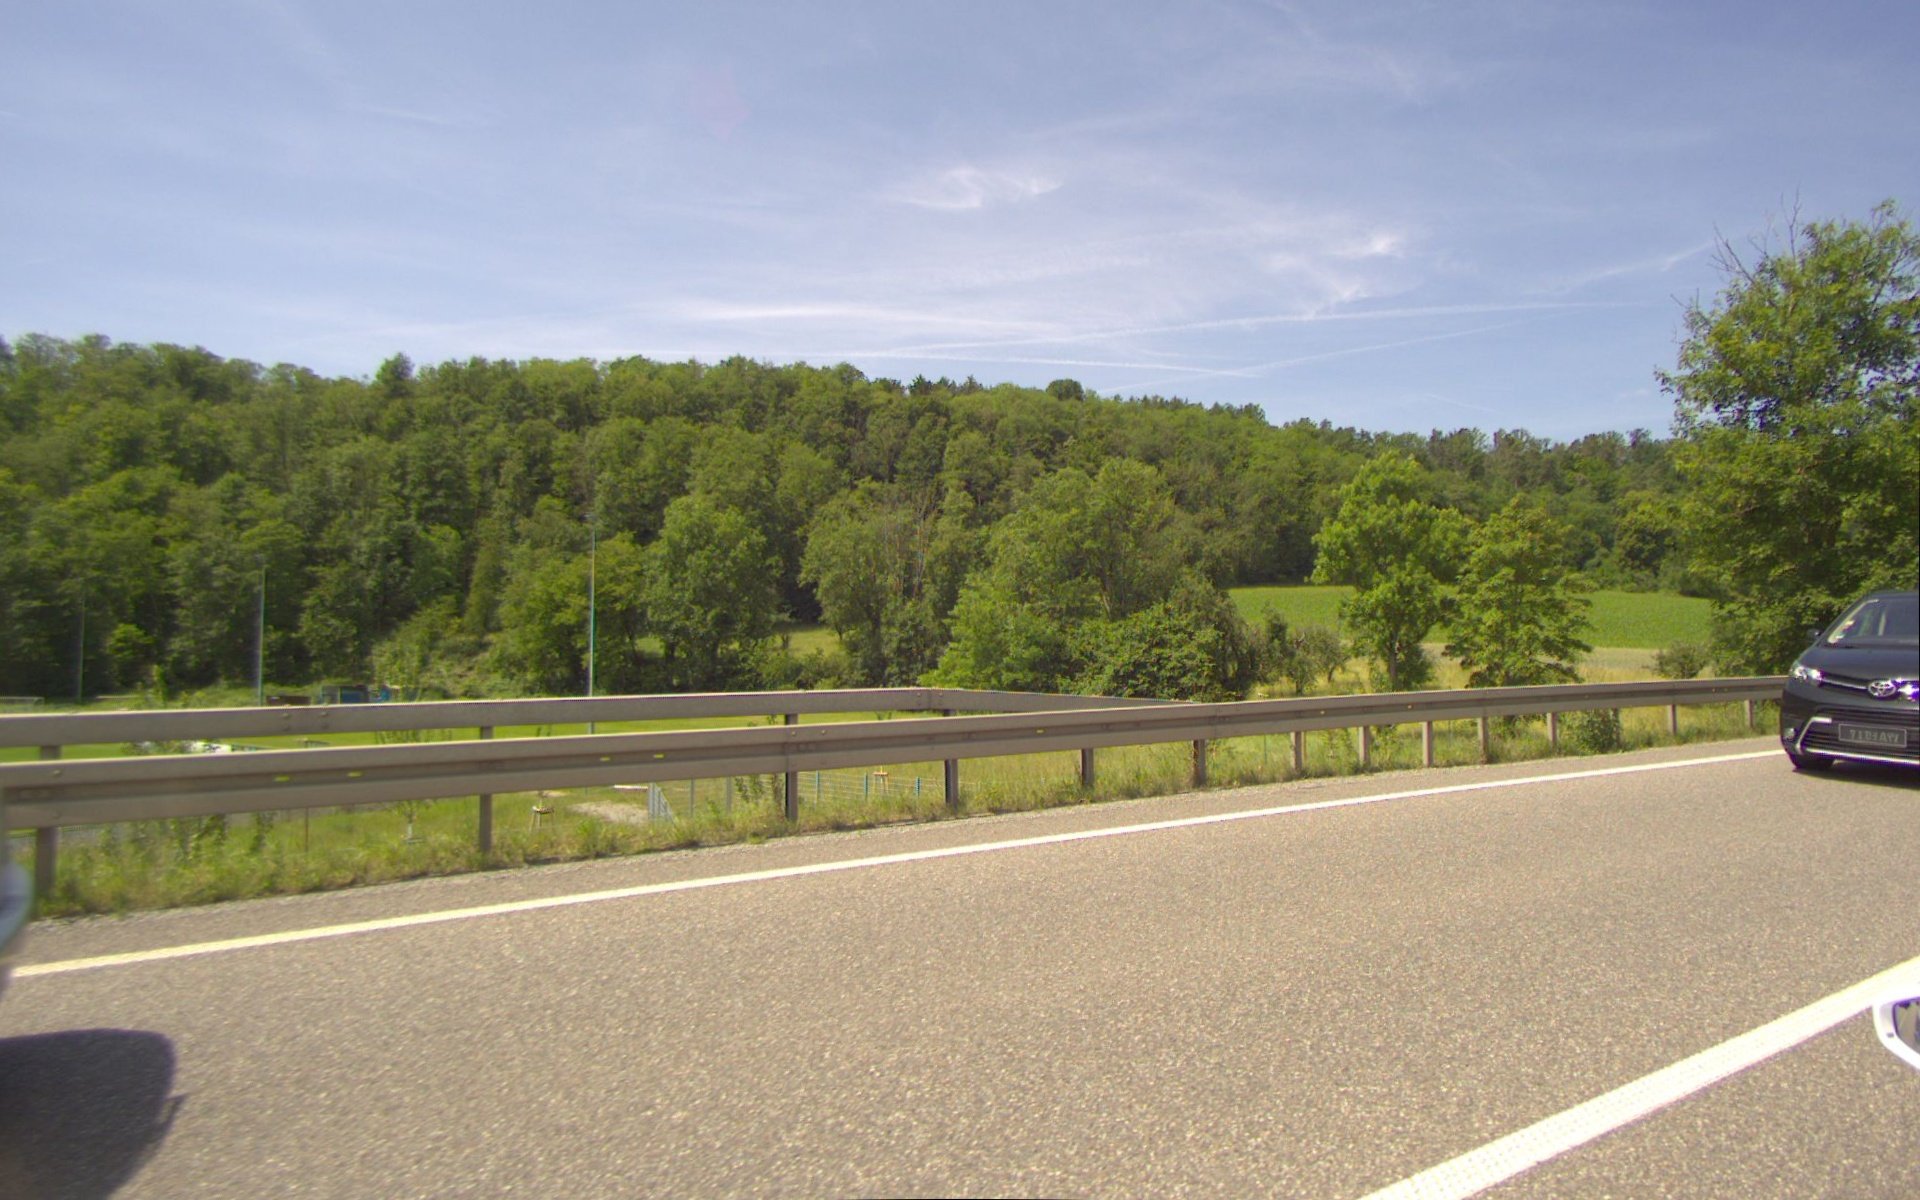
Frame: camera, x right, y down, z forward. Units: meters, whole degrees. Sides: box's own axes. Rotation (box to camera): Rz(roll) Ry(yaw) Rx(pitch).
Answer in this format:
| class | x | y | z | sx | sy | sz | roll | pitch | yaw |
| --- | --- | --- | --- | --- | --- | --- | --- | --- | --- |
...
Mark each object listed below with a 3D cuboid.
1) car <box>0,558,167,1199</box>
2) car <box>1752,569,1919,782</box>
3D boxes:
| class | x | y | z | sx | sy | sz | roll | pitch | yaw |
| --- | --- | --- | --- | --- | --- | --- | --- | --- | --- |
| car | -4.246 | 0.623 | 1.849 | 4.121 | 1.514 | 1.759 | 1 | 0 | -31 |
| car | 10.547 | 0.707 | 10.411 | 5.114 | 1.884 | 1.913 | 1 | 0 | -30 |
